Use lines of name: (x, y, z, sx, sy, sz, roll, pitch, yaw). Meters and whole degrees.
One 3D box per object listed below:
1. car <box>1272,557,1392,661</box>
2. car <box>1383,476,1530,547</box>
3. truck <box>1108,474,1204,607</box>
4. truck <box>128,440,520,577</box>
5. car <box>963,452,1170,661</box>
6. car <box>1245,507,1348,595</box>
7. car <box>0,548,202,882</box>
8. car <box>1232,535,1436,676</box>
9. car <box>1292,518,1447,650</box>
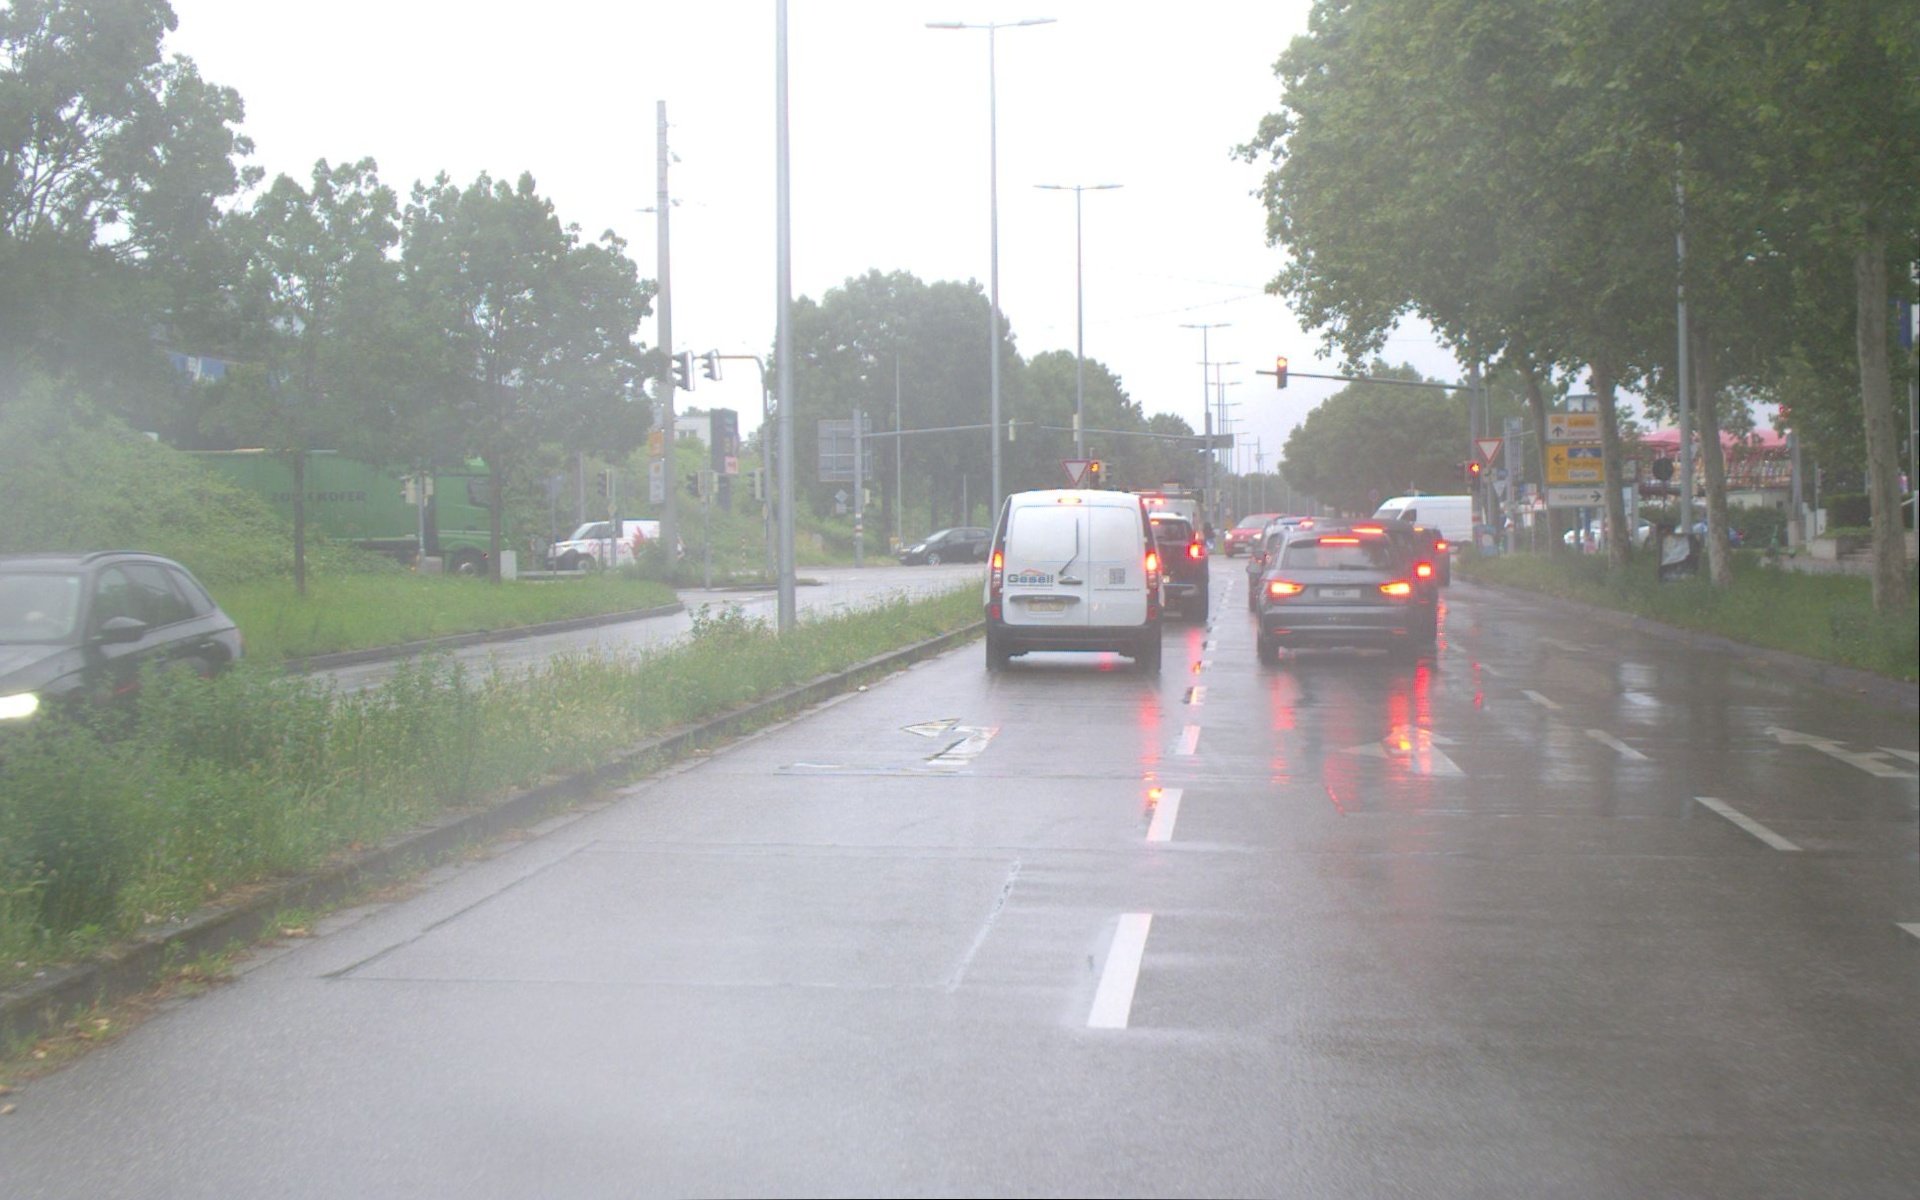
car: (5.585, 0.104, 51.912, 1.712, 1.440, 4.000, 0, 2, 5)
car: (20.207, -3.561, 139.807, 6.000, 2.734, 2.000, 0, 0, -31)
truck: (3.753, -1.137, 65.756, 1.757, 2.458, 4.000, 0, 1, 3)
truck: (-17.080, -2.386, 92.761, 10.108, 3.440, 2.658, 0, 0, -32)
car: (1.147, -0.419, 35.248, 1.994, 2.007, 3.999, 0, 0, 3)
car: (5.769, -0.873, 59.228, 1.712, 1.440, 4.000, 0, 2, 5)
car: (-5.551, 0.536, 19.053, 1.720, 1.612, 4.346, 0, 1, 0)
car: (4.034, 0.018, 37.614, 1.994, 1.447, 4.000, 1, 1, 3)
car: (5.160, -0.239, 43.712, 1.708, 1.544, 4.000, 0, 2, 3)
